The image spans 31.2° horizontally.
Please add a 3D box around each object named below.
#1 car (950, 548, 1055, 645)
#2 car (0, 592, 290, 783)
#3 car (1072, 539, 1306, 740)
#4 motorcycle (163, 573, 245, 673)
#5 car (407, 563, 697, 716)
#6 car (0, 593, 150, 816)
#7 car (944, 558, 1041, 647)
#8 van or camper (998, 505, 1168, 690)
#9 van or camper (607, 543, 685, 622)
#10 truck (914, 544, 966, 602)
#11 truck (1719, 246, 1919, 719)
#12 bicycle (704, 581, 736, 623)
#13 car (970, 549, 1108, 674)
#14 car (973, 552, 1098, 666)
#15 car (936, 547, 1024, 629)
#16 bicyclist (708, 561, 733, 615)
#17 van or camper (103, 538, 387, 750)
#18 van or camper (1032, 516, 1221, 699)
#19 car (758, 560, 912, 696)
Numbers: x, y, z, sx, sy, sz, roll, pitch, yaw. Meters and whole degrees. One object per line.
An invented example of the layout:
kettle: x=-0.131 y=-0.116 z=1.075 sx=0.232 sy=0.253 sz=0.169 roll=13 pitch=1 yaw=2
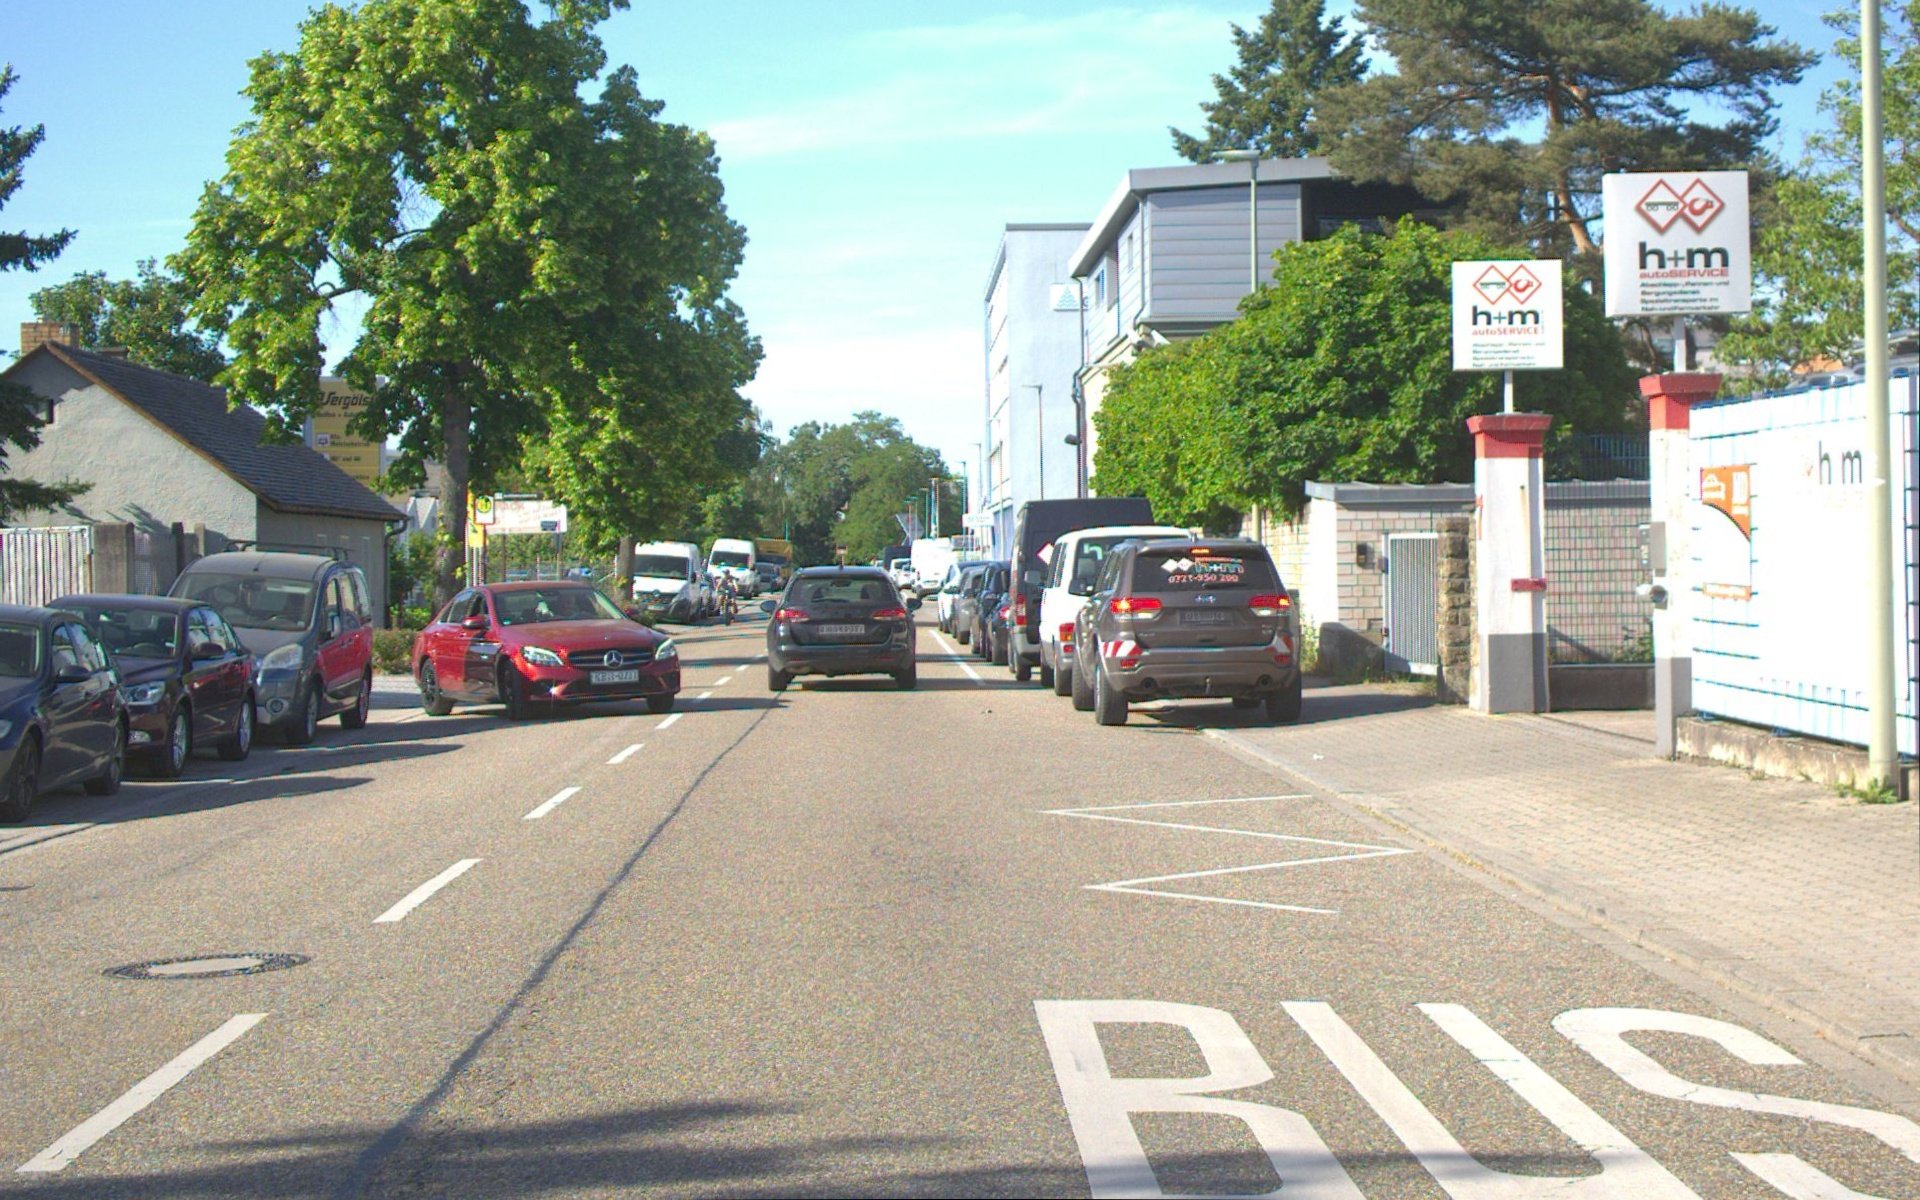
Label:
car: x=0.800 y=-0.090 z=67.301 sx=1.919 sy=1.819 sz=4.080 roll=-1 pitch=1 yaw=-1
car: x=-7.081 y=0.700 z=29.667 sx=1.694 sy=1.464 sz=4.173 roll=-1 pitch=1 yaw=1
car: x=2.164 y=0.340 z=33.528 sx=1.919 sy=1.819 sz=4.080 roll=-1 pitch=1 yaw=-1
motorcycle: x=-11.210 y=0.329 z=51.034 sx=0.777 sy=1.440 sz=2.038 roll=-1 pitch=1 yaw=-1
car: x=-4.455 y=0.382 z=37.021 sx=1.875 sy=1.480 sz=4.045 roll=-3 pitch=2 yaw=-25
car: x=-7.120 y=0.686 z=24.596 sx=1.756 sy=1.398 sz=4.558 roll=-1 pitch=1 yaw=-3
car: x=0.664 y=0.028 z=72.617 sx=1.919 sy=1.819 sz=4.080 roll=-1 pitch=1 yaw=-1
van or camper: x=1.564 y=-0.051 z=45.159 sx=1.993 sy=2.302 sz=4.000 roll=-1 pitch=1 yaw=-1
van or camper: x=-9.717 y=-0.570 z=106.559 sx=2.323 sy=2.354 sz=6.529 roll=-1 pitch=1 yaw=-5
truck: x=-0.834 y=-1.110 z=139.266 sx=1.993 sy=2.280 sz=6.956 roll=-1 pitch=1 yaw=-1
truck: x=10.467 y=-0.995 z=29.052 sx=7.372 sy=3.758 sz=2.833 roll=-1 pitch=1 yaw=-5
bicycle: x=-6.949 y=0.045 z=99.761 sx=0.829 sy=1.149 sz=2.941 roll=-1 pitch=1 yaw=-3
car: x=1.171 y=0.144 z=52.558 sx=1.919 sy=1.819 sz=4.080 roll=-1 pitch=1 yaw=-1
car: x=1.230 y=0.120 z=57.716 sx=1.919 sy=1.819 sz=4.080 roll=-1 pitch=1 yaw=-1
car: x=0.434 y=-0.289 z=79.035 sx=1.919 sy=1.819 sz=4.080 roll=-1 pitch=1 yaw=-1
bicyclist: x=-6.965 y=-0.351 z=100.152 sx=0.695 sy=1.534 sz=0.635 roll=-1 pitch=1 yaw=-3
van or camper: x=-7.024 y=0.404 z=34.189 sx=1.891 sy=1.919 sz=4.266 roll=-2 pitch=0 yaw=0
van or camper: x=1.888 y=0.057 z=40.156 sx=1.919 sy=2.012 sz=4.080 roll=-1 pitch=1 yaw=-1
car: x=-1.480 y=0.302 z=41.819 sx=1.711 sy=1.527 sz=3.687 roll=-1 pitch=1 yaw=0
